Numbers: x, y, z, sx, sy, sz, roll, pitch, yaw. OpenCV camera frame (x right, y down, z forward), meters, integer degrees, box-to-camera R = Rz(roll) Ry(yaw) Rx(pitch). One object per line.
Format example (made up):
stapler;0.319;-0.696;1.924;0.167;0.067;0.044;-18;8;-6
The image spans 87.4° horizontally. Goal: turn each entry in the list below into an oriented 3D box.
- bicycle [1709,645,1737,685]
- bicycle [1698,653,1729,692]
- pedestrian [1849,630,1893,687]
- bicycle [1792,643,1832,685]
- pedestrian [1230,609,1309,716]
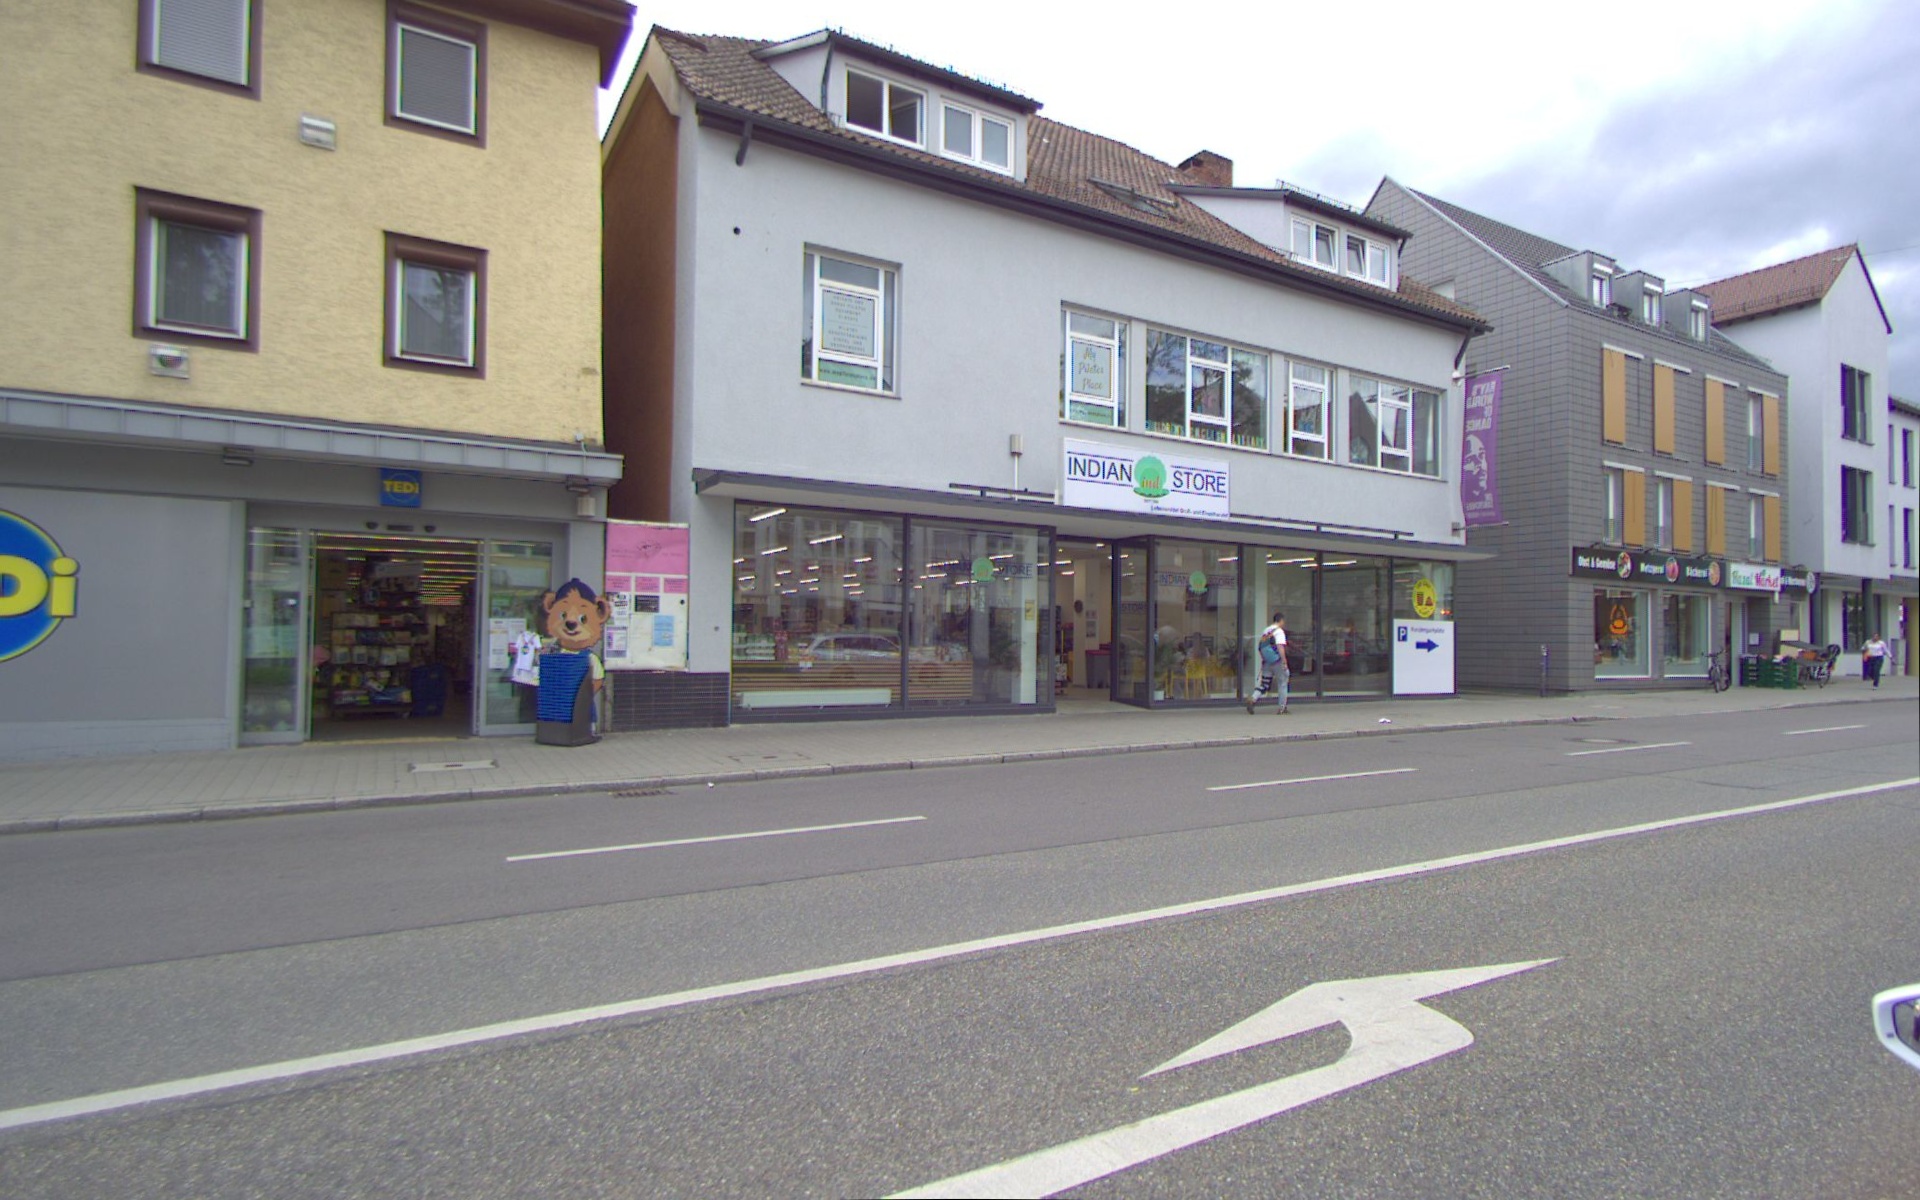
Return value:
bicycle;22.271;1.882;29.309;1.279;1.142;0.383;2;-2;-40
bicycle;19.487;1.856;25.966;1.472;0.966;0.323;2;-2;-41
pedestrian;26.325;1.679;29.027;0.744;1.631;0.725;1;-1;-29
bicycle;25.178;1.881;29.675;1.806;1.201;0.384;1;-2;-33
pedestrian;5.206;1.031;16.913;0.969;1.728;0.750;1;1;-30
